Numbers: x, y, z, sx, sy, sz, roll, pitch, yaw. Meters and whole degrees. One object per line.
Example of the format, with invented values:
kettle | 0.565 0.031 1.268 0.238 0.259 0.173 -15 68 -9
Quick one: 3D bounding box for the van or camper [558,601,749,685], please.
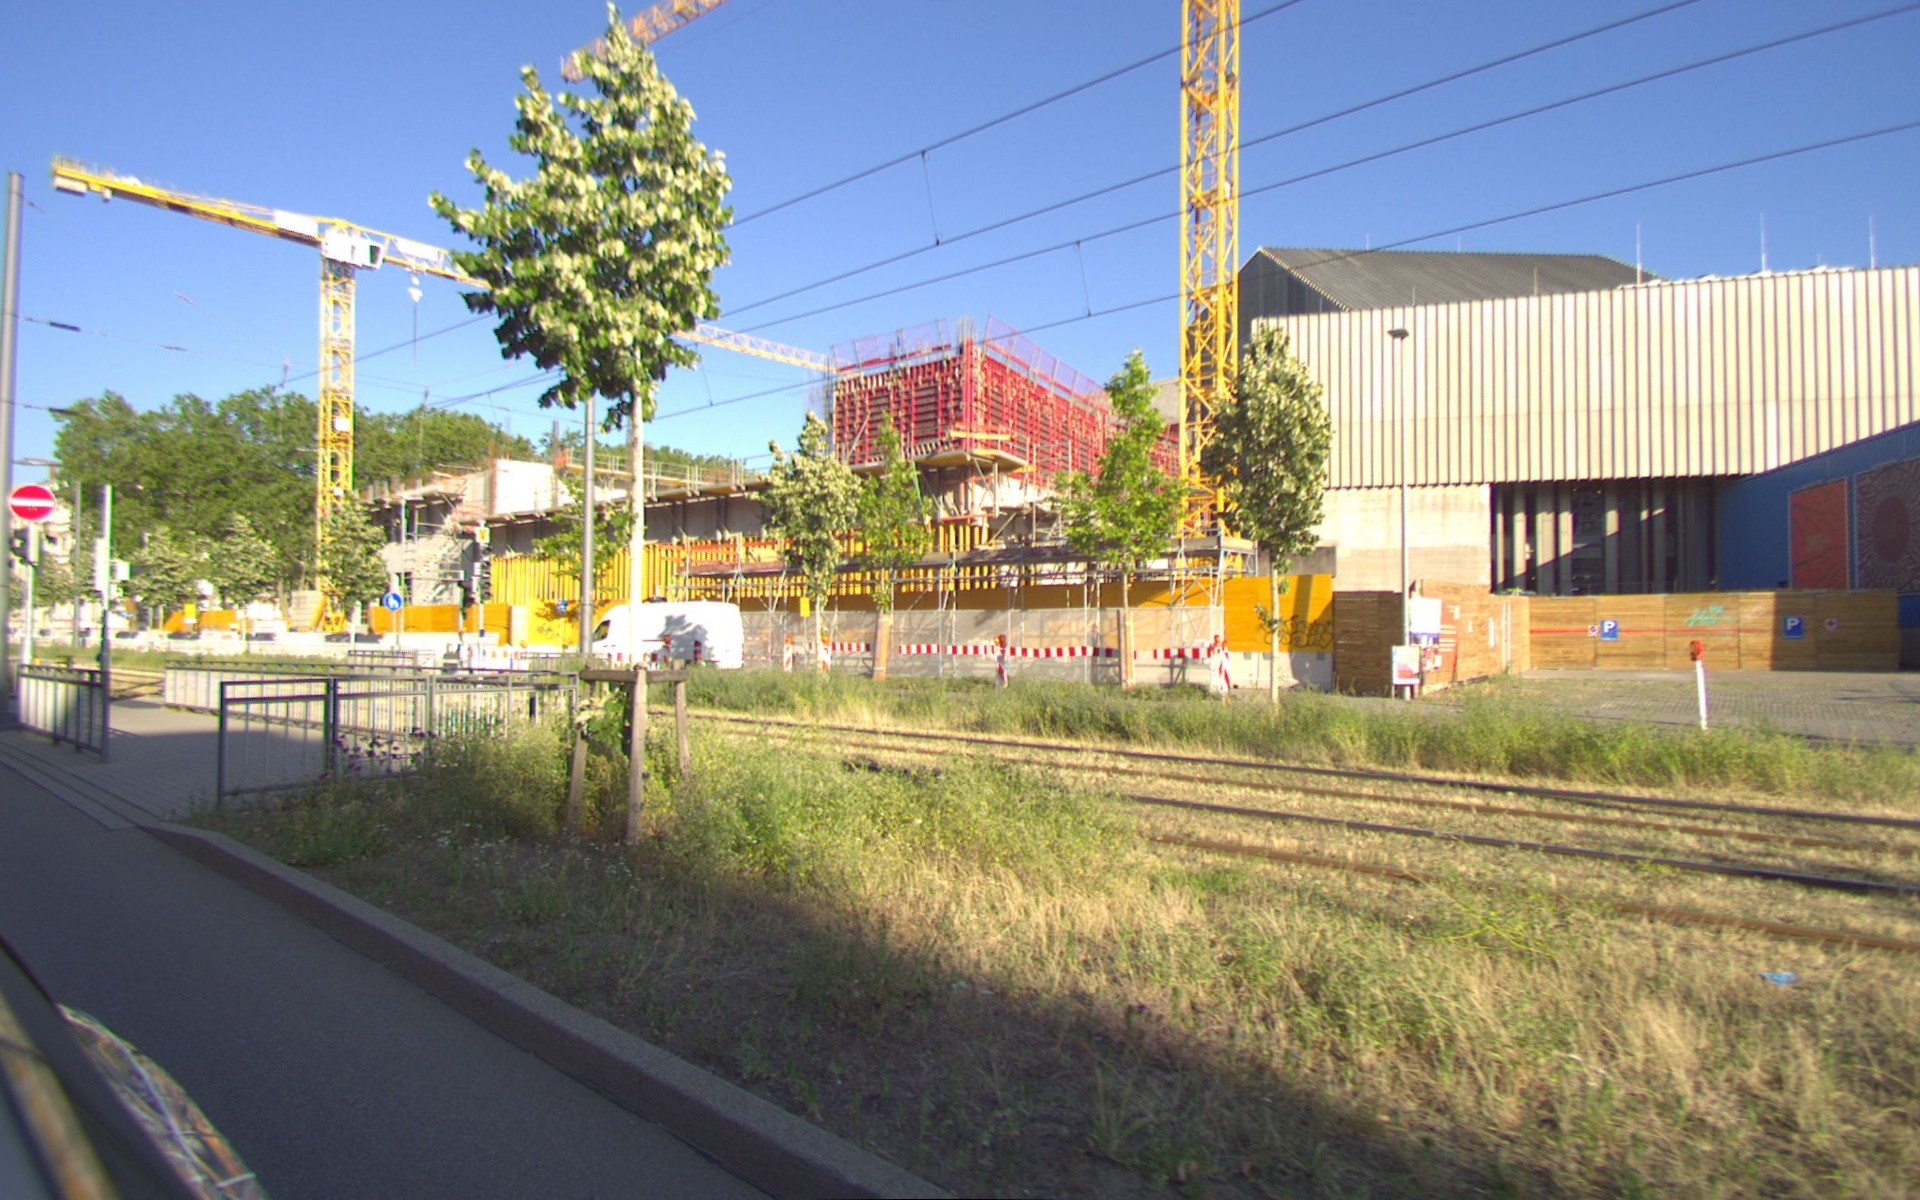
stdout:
van or camper | -10.253 1.473 33.501 7.188 2.529 2.201 -2 -5 37
